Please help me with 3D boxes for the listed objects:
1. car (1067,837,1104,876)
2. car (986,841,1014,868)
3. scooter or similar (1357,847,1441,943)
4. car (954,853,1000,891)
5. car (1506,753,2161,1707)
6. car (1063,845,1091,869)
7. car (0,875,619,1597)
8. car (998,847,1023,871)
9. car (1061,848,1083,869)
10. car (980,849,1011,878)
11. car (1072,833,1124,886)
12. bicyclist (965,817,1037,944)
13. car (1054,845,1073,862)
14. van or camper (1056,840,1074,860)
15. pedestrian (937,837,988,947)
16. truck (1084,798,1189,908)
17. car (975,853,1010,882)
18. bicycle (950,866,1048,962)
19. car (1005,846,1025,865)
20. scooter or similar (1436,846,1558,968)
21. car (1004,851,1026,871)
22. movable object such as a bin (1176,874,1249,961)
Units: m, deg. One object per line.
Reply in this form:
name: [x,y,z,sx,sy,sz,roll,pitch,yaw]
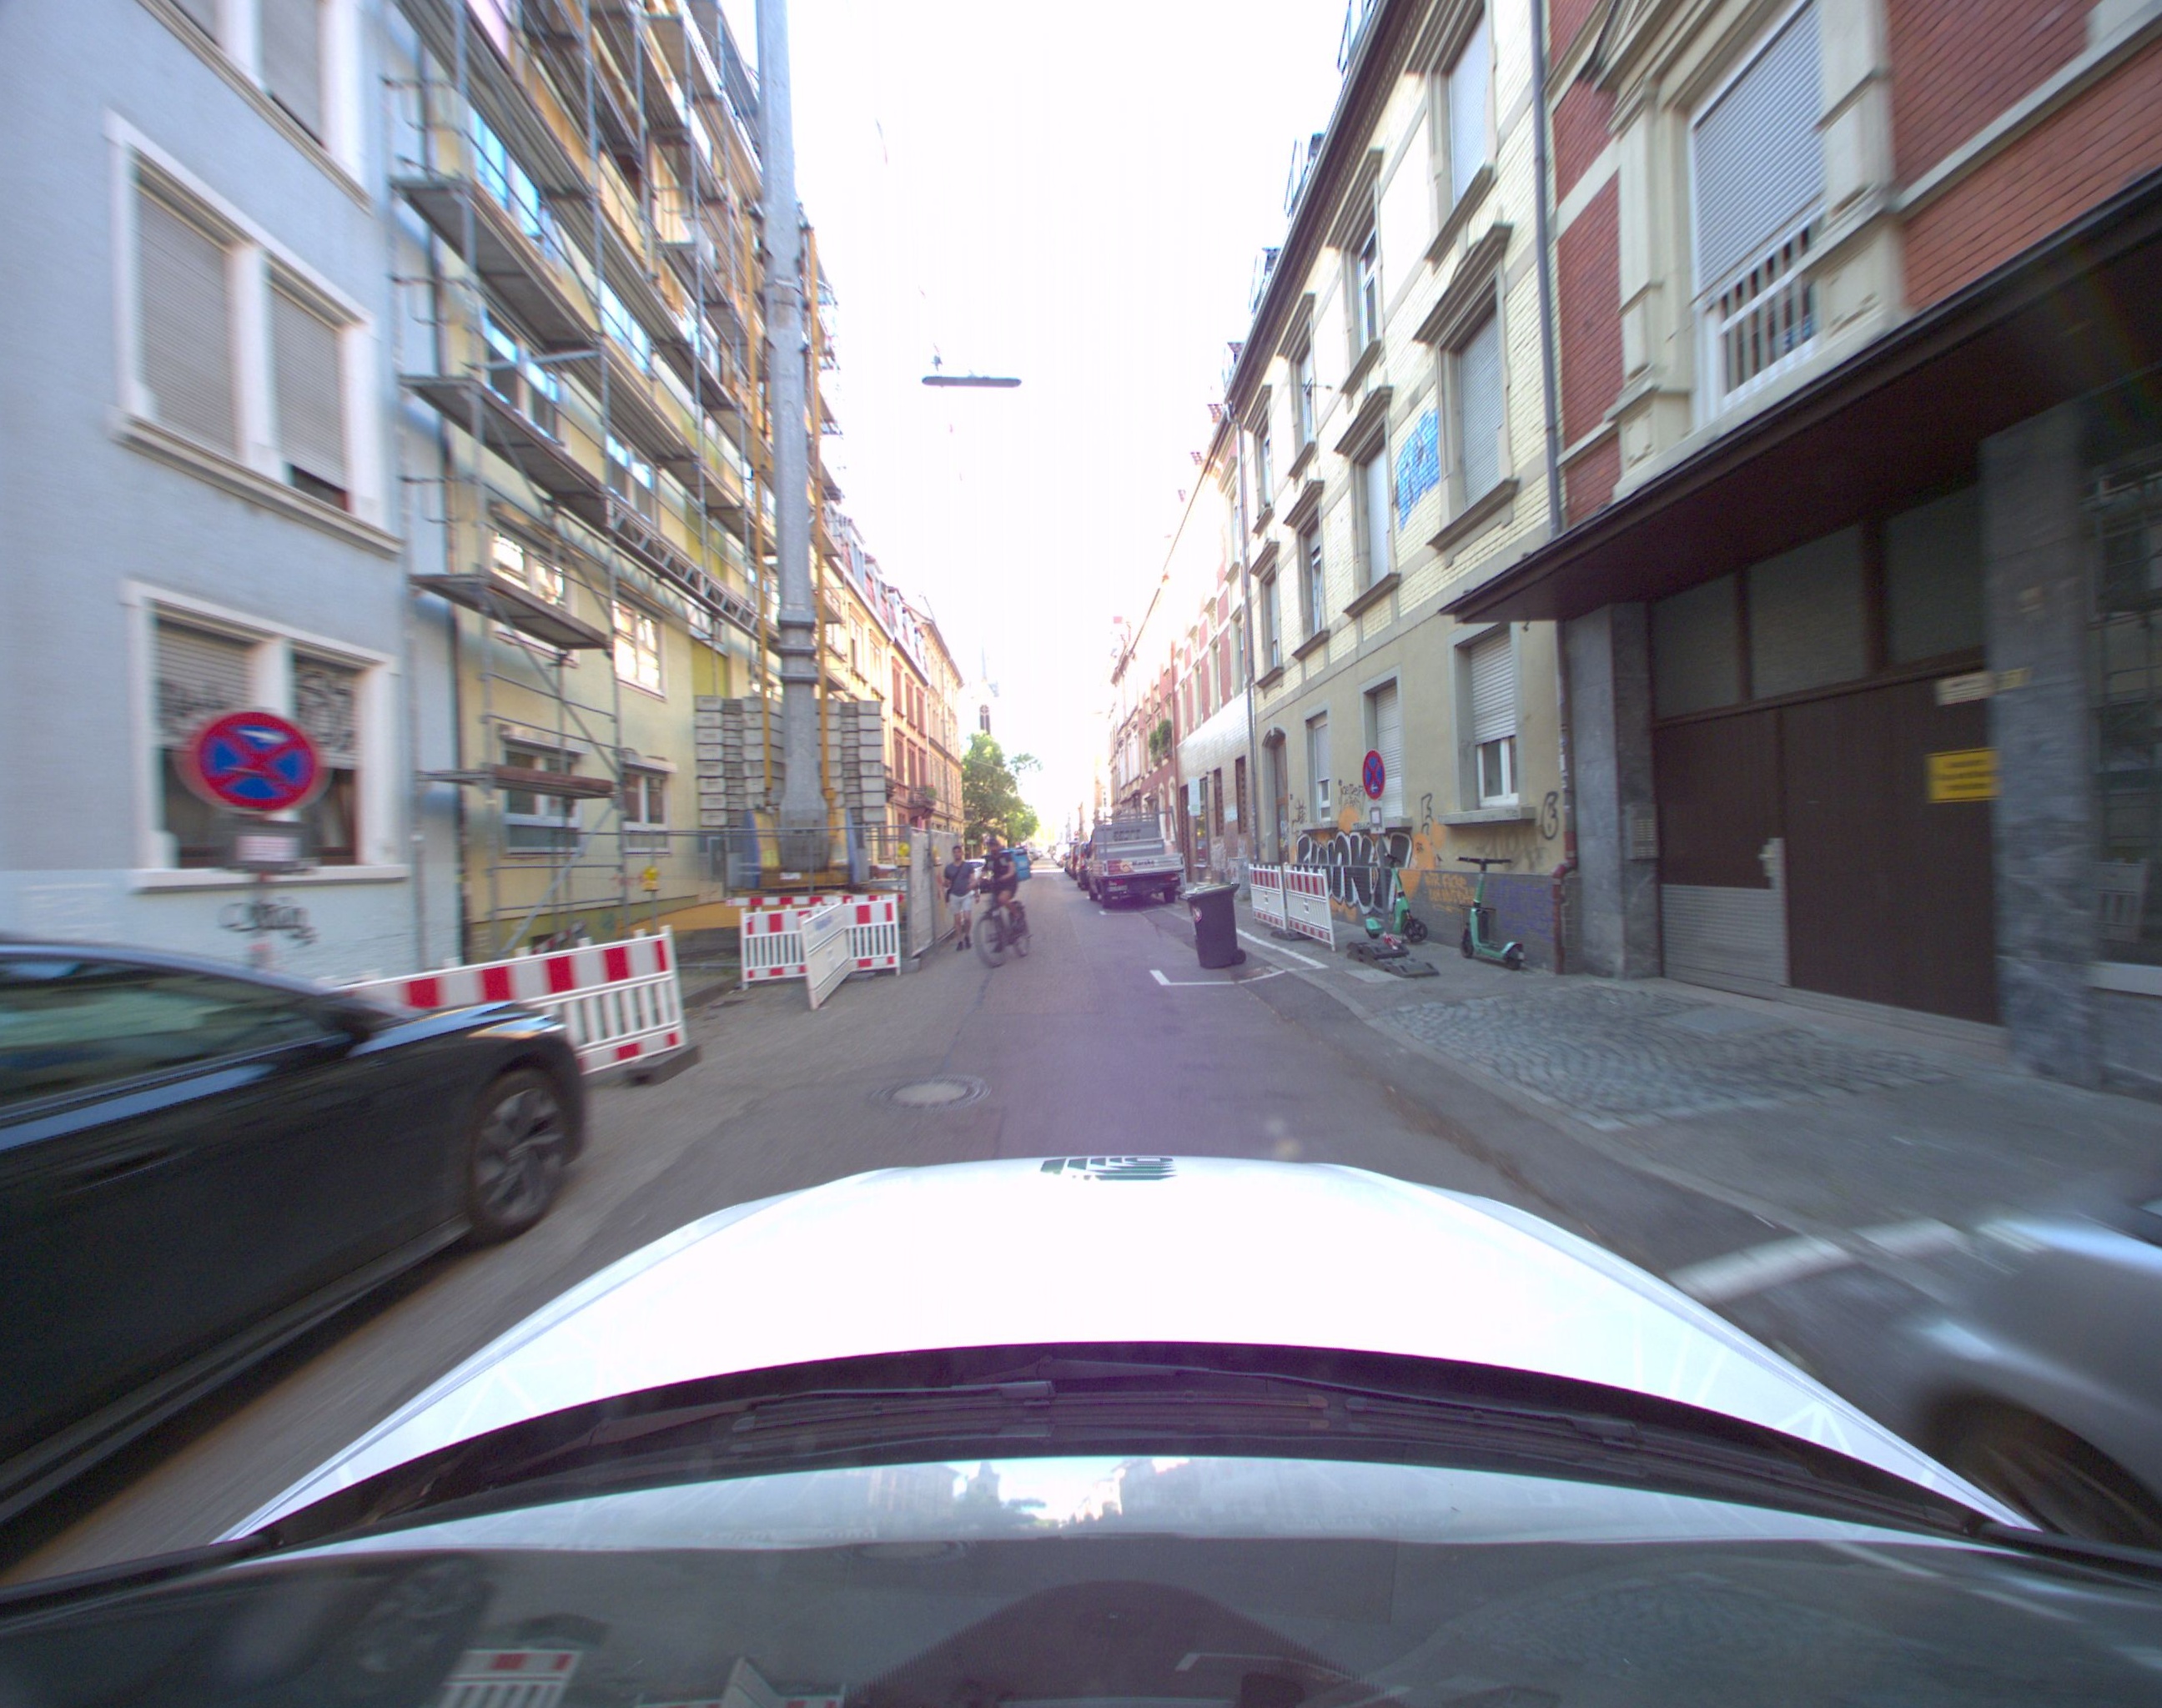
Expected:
car: [0.204,0.124,46.006,1.672,2.031,3.863,-3,0,-5]
car: [-5.304,0.033,53.877,1.672,1.571,3.863,-3,0,-5]
scooter or similar: [4.266,0.519,11.018,0.417,1.178,1.494,-5,0,-2]
car: [-4.400,0.744,34.921,1.672,1.445,3.863,-3,0,-5]
car: [2.401,0.587,1.078,1.592,1.560,3.812,-3,0,-1]
car: [-0.334,0.212,59.469,1.672,1.571,3.863,-3,0,-5]
car: [-3.206,0.907,1.923,1.671,1.477,4.603,-3,0,-2]
car: [-5.110,0.344,59.077,1.672,1.571,3.863,-3,0,-5]
car: [-0.957,0.446,83.883,1.989,2.013,3.995,-3,0,-4]
car: [-5.048,0.528,48.600,1.672,1.571,3.863,-3,0,-5]
car: [0.629,0.223,33.526,1.672,1.962,4.102,-3,0,-5]
bicyclist: [-1.147,0.373,11.779,0.725,1.761,0.838,-2,1,14]
car: [-2.065,-0.069,96.838,1.989,1.848,3.995,-4,0,-4]
van or camper: [-2.254,-0.553,112.462,1.991,2.508,4.193,-4,0,-6]
pedestrian: [-1.938,0.606,13.424,0.656,1.732,0.719,-3,0,-2]
truck: [1.409,-0.044,23.061,2.185,2.607,5.228,-4,0,-3]
car: [-4.709,0.696,43.725,1.672,1.445,3.863,-3,0,-5]
bicycle: [-1.129,0.815,11.790,0.719,1.186,2.050,-1,1,14]
car: [-7.065,0.119,87.313,1.989,1.848,3.995,-4,0,-4]
scooter or similar: [4.454,0.519,8.827,0.417,1.178,1.494,-5,0,-2]
car: [-6.594,0.678,81.828,1.989,1.848,3.995,-3,0,-4]
movable object such as a bin: [1.729,0.826,10.813,0.793,1.056,0.659,-3,0,-3]
